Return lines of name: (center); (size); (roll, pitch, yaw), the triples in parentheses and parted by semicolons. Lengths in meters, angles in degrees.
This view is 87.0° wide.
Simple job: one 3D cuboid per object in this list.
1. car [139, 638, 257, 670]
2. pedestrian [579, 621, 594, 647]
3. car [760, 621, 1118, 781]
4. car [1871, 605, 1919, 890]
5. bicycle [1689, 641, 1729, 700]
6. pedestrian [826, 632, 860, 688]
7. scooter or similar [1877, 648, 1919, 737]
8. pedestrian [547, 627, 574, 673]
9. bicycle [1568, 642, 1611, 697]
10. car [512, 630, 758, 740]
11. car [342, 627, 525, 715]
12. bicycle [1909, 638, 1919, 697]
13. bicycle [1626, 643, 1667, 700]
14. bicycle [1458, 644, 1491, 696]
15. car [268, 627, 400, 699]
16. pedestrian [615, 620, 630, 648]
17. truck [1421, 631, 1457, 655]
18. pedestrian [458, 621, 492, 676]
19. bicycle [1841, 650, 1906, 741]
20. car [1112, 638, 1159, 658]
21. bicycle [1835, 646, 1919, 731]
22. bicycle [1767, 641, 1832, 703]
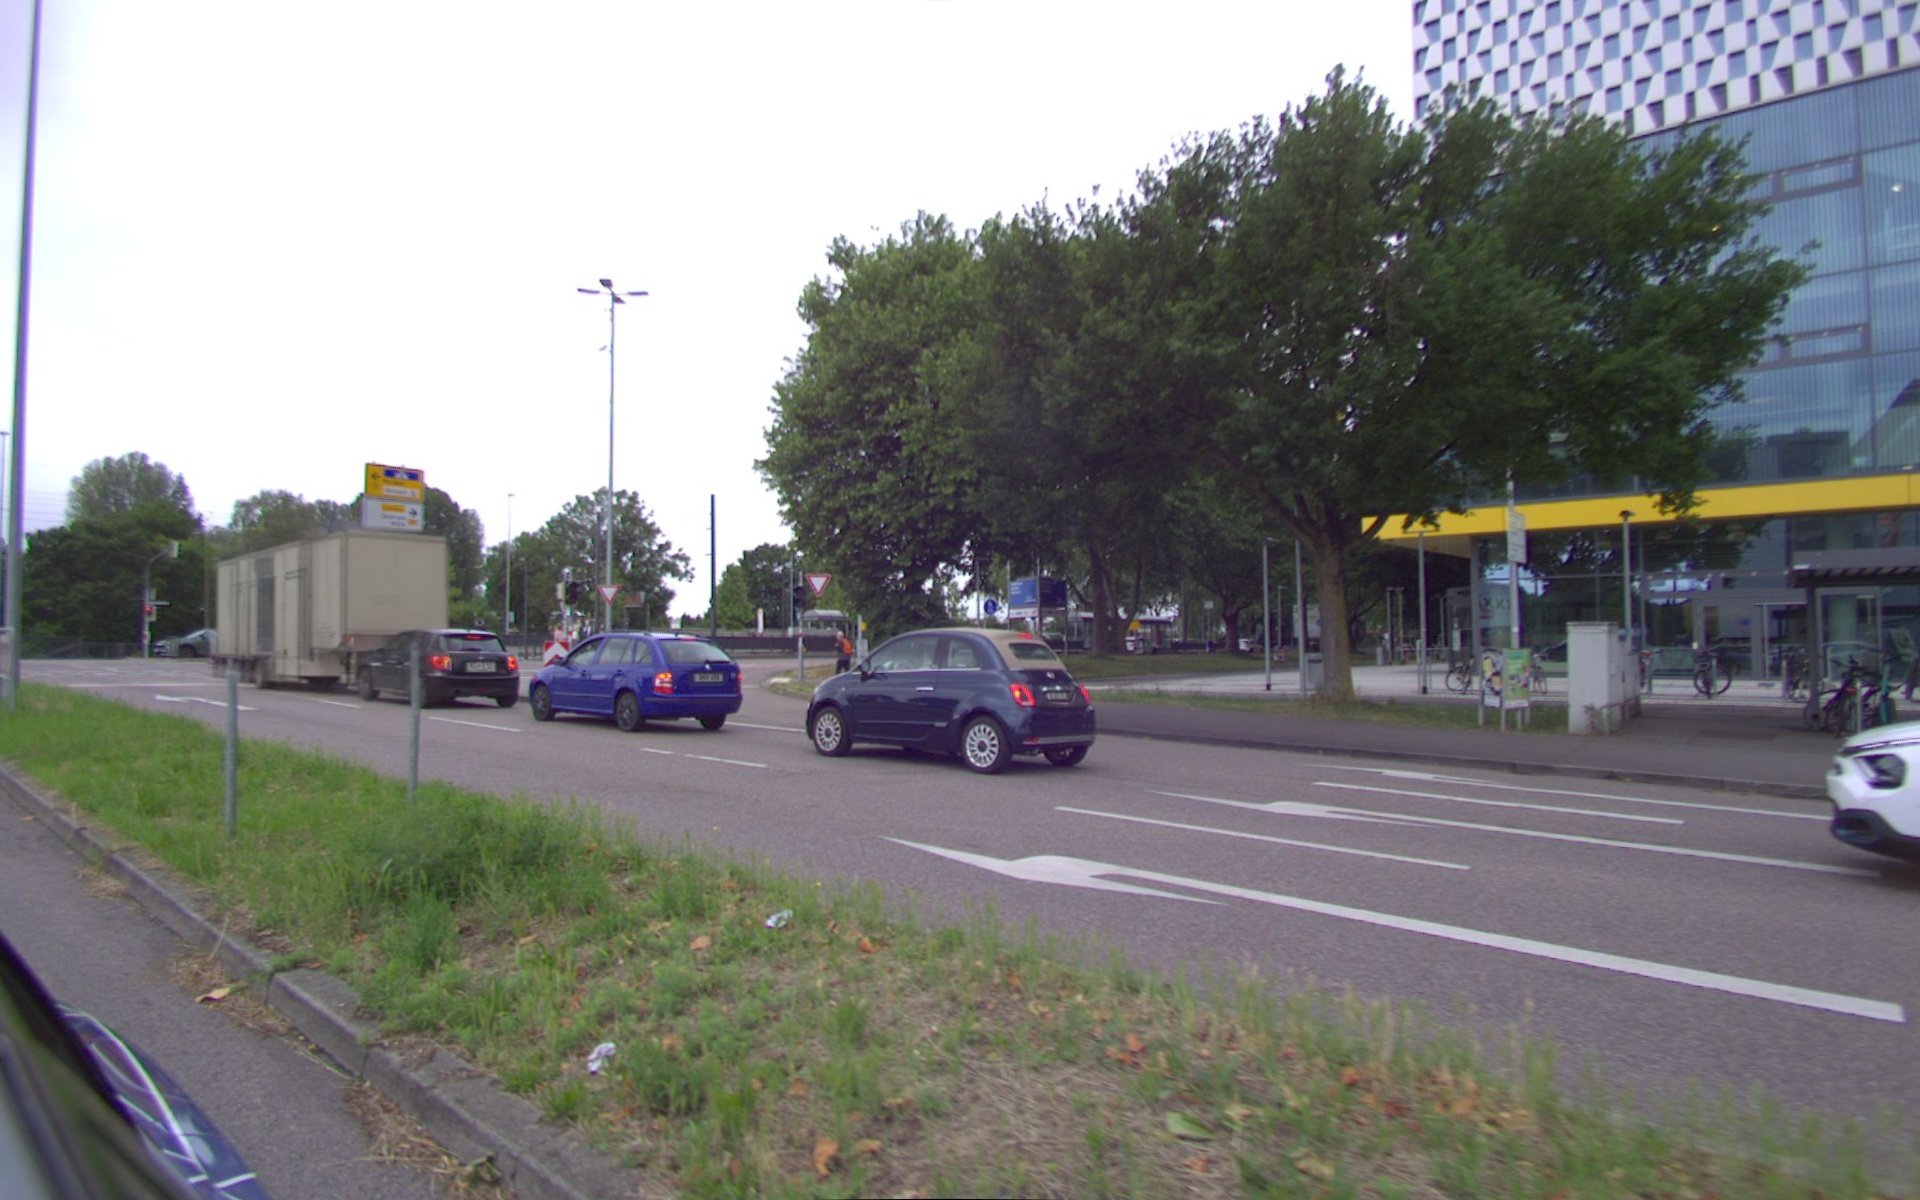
car: (-36.827, 2.574, 48.991); (1.676, 1.419, 4.314); (-5, -4, 39)
pedestrian: (-23.034, 2.117, 62.432); (0.711, 1.572, 0.623); (-5, -5, 42)
car: (-0.350, 1.064, 11.503); (4.034, 1.509, 1.586); (-3, -5, 40)
car: (7.254, 0.808, 4.879); (4.180, 1.530, 1.910); (-2, -4, 42)
bicycle: (16.475, 1.531, 22.240); (0.593, 1.165, 1.996); (-2, -1, 39)
pedestrian: (-3.540, 1.808, 30.664); (0.808, 1.655, 0.627); (0, -1, 38)
scooter or similar: (13.374, 1.275, 13.790); (0.353, 1.194, 1.296); (-1, -1, -12)
pedestrian: (-15.055, 1.871, 38.114); (0.766, 1.725, 0.666); (-2, -3, 44)
bicycle: (14.787, 1.611, 23.738); (0.593, 1.165, 1.996); (-2, -1, 39)
car: (-5.050, 1.221, 15.464); (4.140, 1.455, 1.586); (-1, -4, 40)
car: (-10.110, 1.307, 19.316); (4.062, 1.514, 1.645); (-1, -4, 40)
bicycle: (19.295, 1.353, 19.889); (0.592, 1.165, 1.999); (-2, -1, 34)
bicycle: (15.614, 1.601, 23.006); (0.593, 1.165, 1.996); (-2, -1, 39)
bicycle: (12.848, 1.722, 25.306); (0.590, 1.165, 2.006); (-2, -1, 24)
car: (-14.287, 1.400, 23.060); (3.206, 1.514, 1.586); (-2, -3, 39)
pedestrian: (-21.676, 2.191, 64.944); (0.788, 1.755, 0.578); (-5, -5, 43)
truck: (77.656, 6.968, 164.004); (3.258, 3.691, 9.768); (0, -2, 38)
pedestrian: (-16.486, 1.652, 34.401); (0.686, 1.778, 0.656); (3, -3, 38)
bicycle: (12.907, 1.312, 14.337); (0.593, 1.166, 1.995); (-2, -3, 40)
car: (14.117, 3.834, 81.379); (1.891, 1.598, 4.353); (-1, -2, 39)
bicycle: (14.407, 1.339, 15.783); (1.988, 1.165, 0.595); (-1, -1, -33)
bicycle: (17.567, 1.481, 21.217); (0.591, 1.165, 2.003); (-2, -1, 27)
